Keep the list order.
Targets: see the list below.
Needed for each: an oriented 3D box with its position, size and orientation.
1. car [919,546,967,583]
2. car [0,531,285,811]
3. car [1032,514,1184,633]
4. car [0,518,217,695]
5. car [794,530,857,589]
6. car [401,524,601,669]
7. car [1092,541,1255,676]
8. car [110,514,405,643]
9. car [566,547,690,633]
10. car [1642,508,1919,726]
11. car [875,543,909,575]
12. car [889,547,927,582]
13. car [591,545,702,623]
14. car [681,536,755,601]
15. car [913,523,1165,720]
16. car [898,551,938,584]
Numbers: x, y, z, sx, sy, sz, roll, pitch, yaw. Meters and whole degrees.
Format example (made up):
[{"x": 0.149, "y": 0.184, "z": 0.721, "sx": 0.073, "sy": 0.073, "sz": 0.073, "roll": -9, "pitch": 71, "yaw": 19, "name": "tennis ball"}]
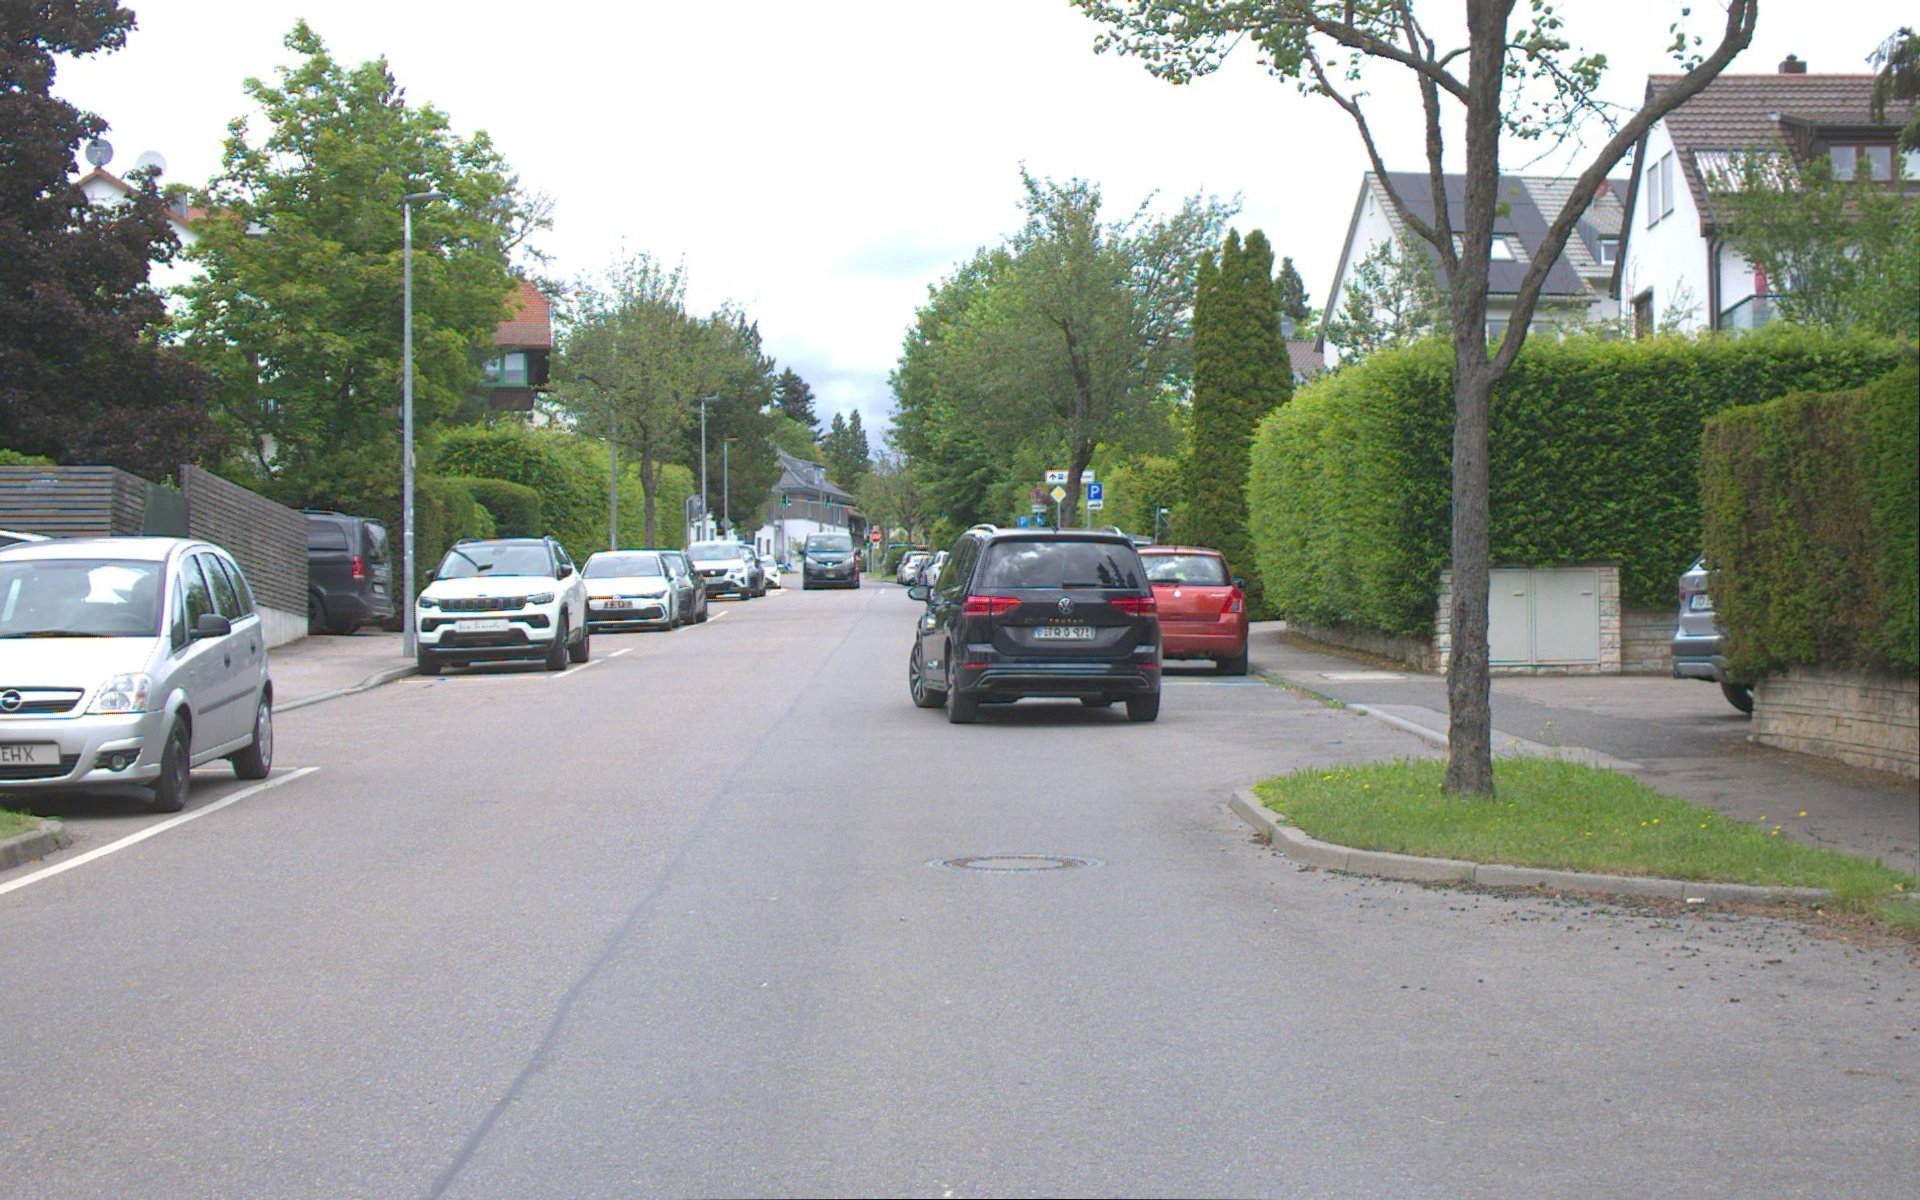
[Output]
[{"x": -0.708, "y": -1.453, "z": 139.775, "sx": 1.664, "sy": 1.495, "sz": 3.468, "roll": 0, "pitch": 1, "yaw": -5, "name": "car"}, {"x": -5.424, "y": 0.377, "z": 21.247, "sx": 1.760, "sy": 1.557, "sz": 3.855, "roll": -1, "pitch": 1, "yaw": -1, "name": "car"}, {"x": 2.117, "y": -0.391, "z": 50.426, "sx": 1.993, "sy": 1.612, "sz": 4.513, "roll": 2, "pitch": 1, "yaw": 0, "name": "car"}, {"x": -9.764, "y": -0.008, "z": 33.923, "sx": 4.411, "sy": 1.623, "sz": 1.911, "roll": 2, "pitch": 1, "yaw": -1, "name": "car"}, {"x": -4.323, "y": -1.309, "z": 110.922, "sx": 1.885, "sy": 1.844, "sz": 4.402, "roll": -1, "pitch": 1, "yaw": -1, "name": "car"}, {"x": -5.674, "y": -0.077, "z": 42.991, "sx": 1.837, "sy": 1.660, "sz": 4.408, "roll": -2, "pitch": 1, "yaw": 0, "name": "car"}, {"x": 2.487, "y": 0.064, "z": 40.704, "sx": 1.661, "sy": 1.503, "sz": 3.758, "roll": 0, "pitch": 1, "yaw": 0, "name": "car"}, {"x": -10.913, "y": -0.317, "z": 53.532, "sx": 4.074, "sy": 1.943, "sz": 1.999, "roll": 0, "pitch": -1, "yaw": 8, "name": "car"}, {"x": -5.899, "y": -0.200, "z": 61.547, "sx": 1.837, "sy": 1.417, "sz": 4.408, "roll": -2, "pitch": 1, "yaw": -1, "name": "car"}, {"x": 7.849, "y": 0.066, "z": 27.641, "sx": 4.206, "sy": 1.594, "sz": 1.883, "roll": -2, "pitch": 2, "yaw": -9, "name": "car"}, {"x": -3.631, "y": -2.190, "z": 183.392, "sx": 1.643, "sy": 1.662, "sz": 3.468, "roll": 0, "pitch": 1, "yaw": -5, "name": "car"}, {"x": -2.544, "y": -1.754, "z": 167.921, "sx": 1.664, "sy": 1.662, "sz": 3.468, "roll": 0, "pitch": 1, "yaw": -5, "name": "car"}, {"x": -6.010, "y": -0.312, "z": 66.257, "sx": 1.727, "sy": 1.418, "sz": 4.079, "roll": -2, "pitch": 0, "yaw": 0, "name": "car"}, {"x": -6.028, "y": -0.800, "z": 85.965, "sx": 1.722, "sy": 1.535, "sz": 4.001, "roll": -1, "pitch": 1, "yaw": -3, "name": "car"}, {"x": 0.616, "y": 0.154, "z": 30.100, "sx": 1.847, "sy": 1.606, "sz": 4.312, "roll": 0, "pitch": 1, "yaw": -4, "name": "car"}, {"x": -1.981, "y": -1.548, "z": 161.104, "sx": 1.664, "sy": 1.495, "sz": 3.468, "roll": 0, "pitch": 1, "yaw": -5, "name": "car"}]
